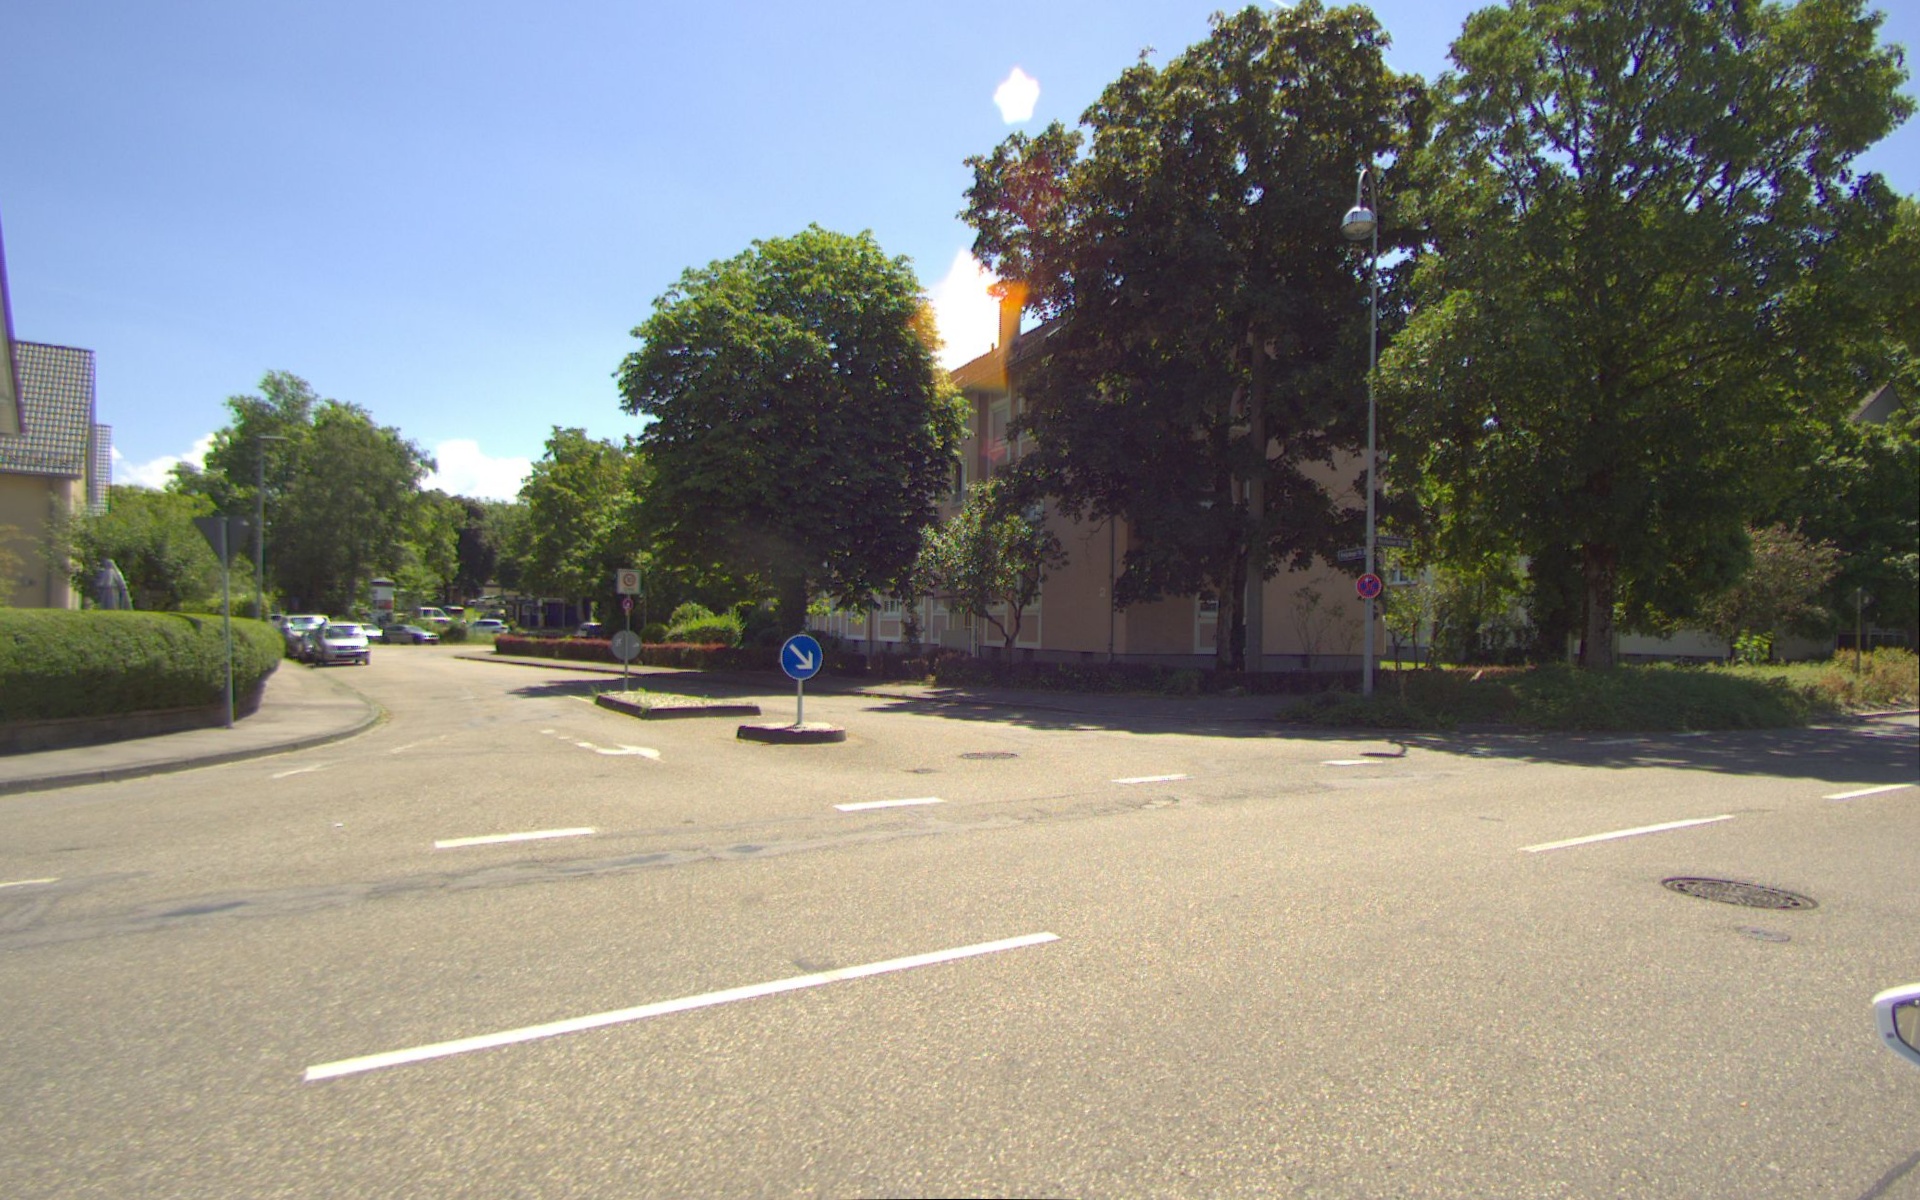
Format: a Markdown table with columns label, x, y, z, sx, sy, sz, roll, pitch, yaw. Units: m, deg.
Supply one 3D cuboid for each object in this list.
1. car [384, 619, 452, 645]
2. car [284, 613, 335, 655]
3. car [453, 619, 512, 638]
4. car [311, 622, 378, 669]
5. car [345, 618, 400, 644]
| label | x | y | z | sx | sy | sz | roll | pitch | yaw |
| --- | --- | --- | --- | --- | --- | --- | --- | --- | --- |
| car | -37.785 | 2.199 | 70.084 | 3.920 | 1.673 | 2.000 | 1 | 0 | 17 |
| car | -31.298 | 1.588 | 48.287 | 1.980 | 1.855 | 3.961 | 1 | 0 | -35 |
| car | -38.017 | 2.277 | 80.052 | 3.860 | 1.460 | 1.796 | 1 | 0 | -8 |
| car | -24.356 | 1.745 | 39.689 | 1.817 | 1.608 | 3.955 | 1 | 0 | -38 |
| car | -42.070 | 2.179 | 71.954 | 3.935 | 1.668 | 2.002 | 1 | 0 | 36 |
